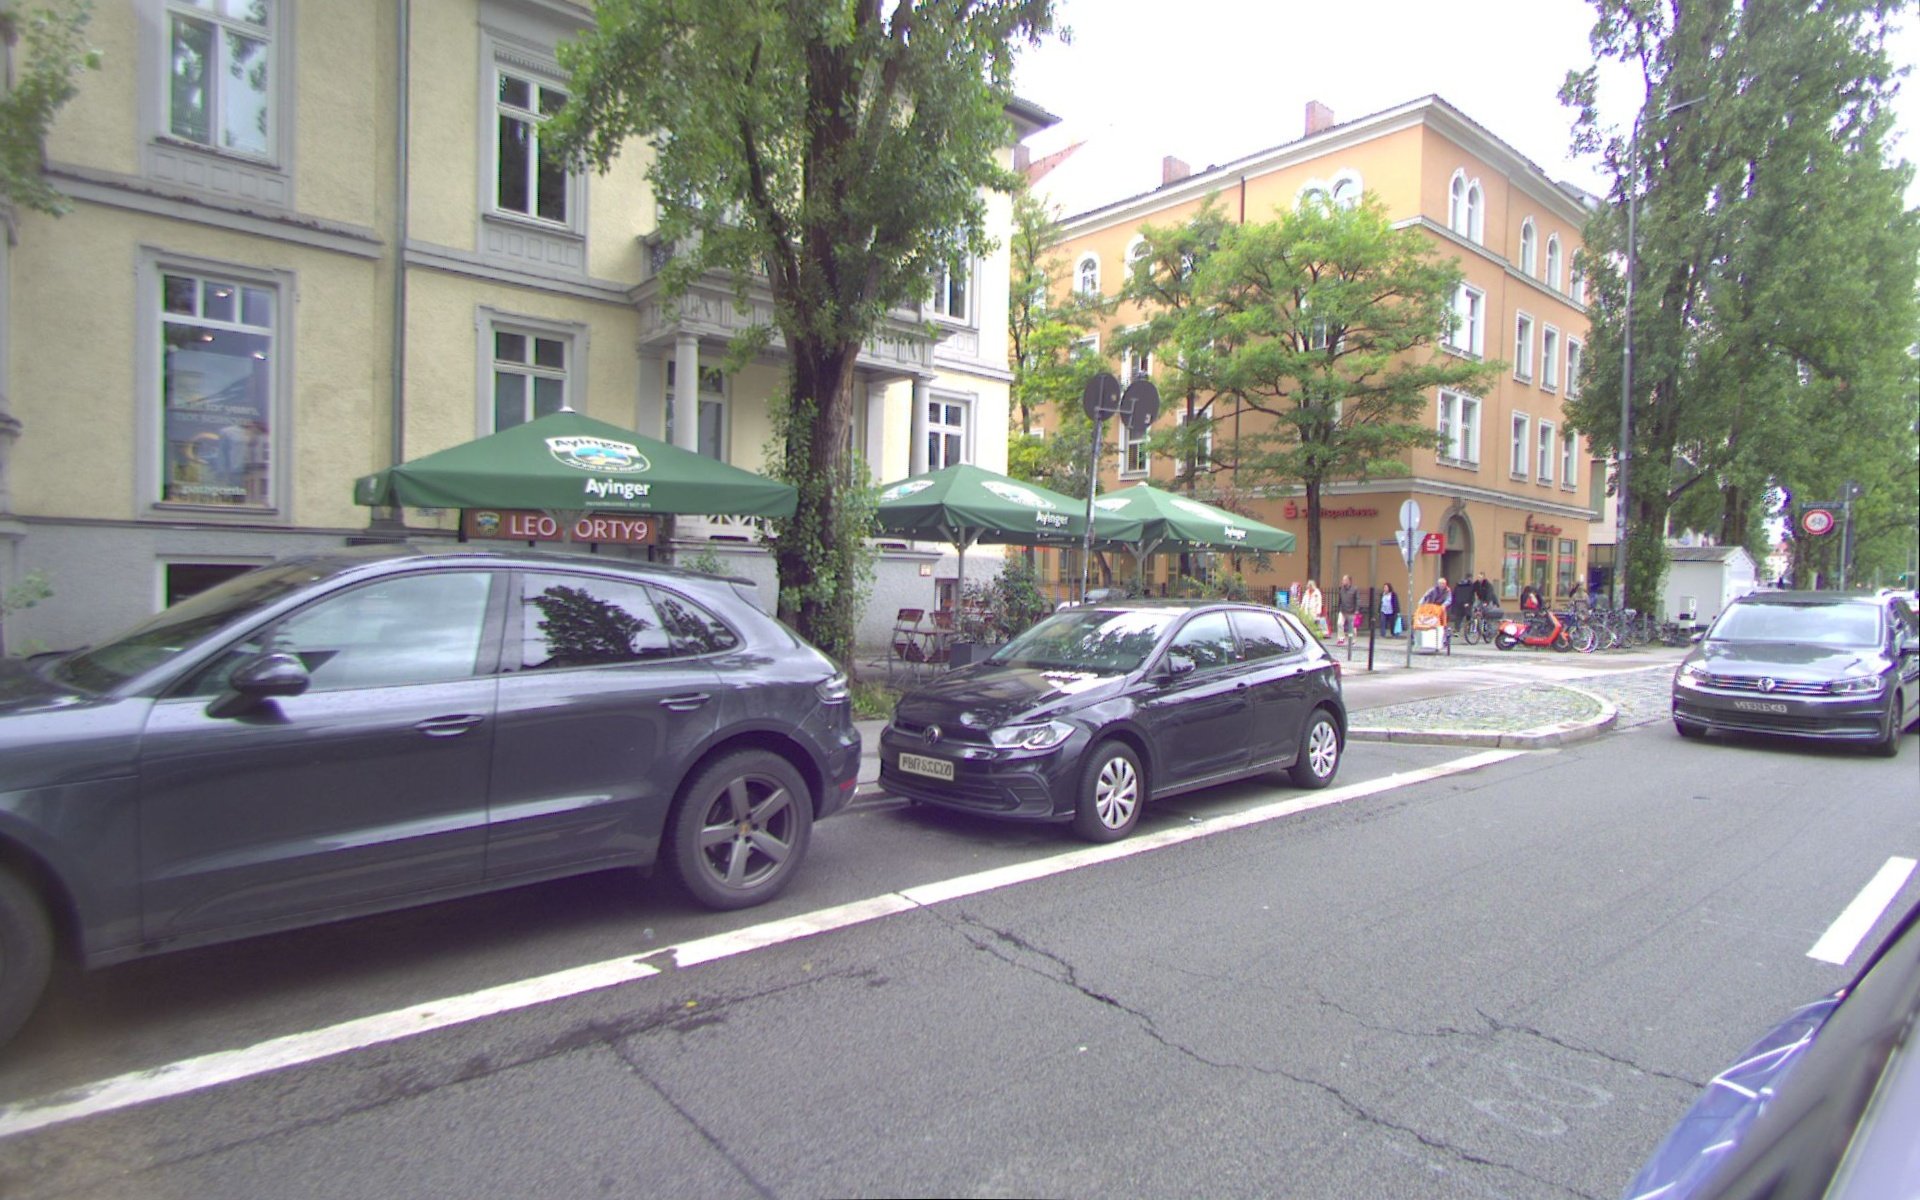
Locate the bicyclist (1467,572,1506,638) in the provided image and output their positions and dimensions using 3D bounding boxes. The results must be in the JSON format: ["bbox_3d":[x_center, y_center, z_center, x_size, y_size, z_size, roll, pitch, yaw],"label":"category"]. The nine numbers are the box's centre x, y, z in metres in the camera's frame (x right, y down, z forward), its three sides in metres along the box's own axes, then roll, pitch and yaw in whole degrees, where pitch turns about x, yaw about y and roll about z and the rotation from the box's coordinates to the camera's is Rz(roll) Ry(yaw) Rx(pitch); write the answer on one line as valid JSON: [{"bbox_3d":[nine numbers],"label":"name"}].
[{"bbox_3d":[14.128,0.127,27.140,0.739,1.708,0.737,2,1,42],"label":"bicyclist"}]

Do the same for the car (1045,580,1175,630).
[{"bbox_3d":[4.888,0.124,33.399,1.873,1.539,3.993,0,1,-41],"label":"car"}]

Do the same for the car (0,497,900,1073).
[{"bbox_3d":[-2.522,0.518,4.362,4.371,1.658,1.805,0,1,-42],"label":"car"}]

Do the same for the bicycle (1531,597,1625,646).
[{"bbox_3d":[15.657,0.522,25.689,0.551,1.151,1.945,1,1,-39],"label":"bicycle"}]

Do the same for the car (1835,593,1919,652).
[{"bbox_3d":[26.783,0.605,29.169,4.421,1.572,1.787,0,1,-42],"label":"car"}]

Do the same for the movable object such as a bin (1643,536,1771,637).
[{"bbox_3d":[25.654,-0.480,34.712,4.463,3.175,2.445,0,3,-41],"label":"movable object such as a bin"}]

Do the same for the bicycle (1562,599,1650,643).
[{"bbox_3d":[17.584,0.557,27.589,0.551,1.098,1.945,1,1,-39],"label":"bicycle"}]

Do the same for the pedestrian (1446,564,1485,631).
[{"bbox_3d":[15.152,-0.092,30.339,0.789,1.973,0.838,0,0,-45],"label":"pedestrian"}]

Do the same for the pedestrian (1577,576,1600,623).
[{"bbox_3d":[23.232,-0.010,37.408,0.632,1.715,0.566,0,0,44],"label":"pedestrian"}]

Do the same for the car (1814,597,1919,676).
[{"bbox_3d":[19.213,0.692,20.352,3.920,1.451,1.620,0,0,-25],"label":"car"}]

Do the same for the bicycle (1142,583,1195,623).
[{"bbox_3d":[7.434,0.103,36.107,0.551,1.389,1.945,1,0,-39],"label":"bicycle"}]

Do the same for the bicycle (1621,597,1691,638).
[{"bbox_3d":[20.061,0.501,29.192,1.588,1.098,0.339,2,1,28],"label":"bicycle"}]

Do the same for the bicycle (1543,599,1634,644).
[{"bbox_3d":[16.578,0.550,26.720,0.551,1.089,1.945,1,1,-39],"label":"bicycle"}]

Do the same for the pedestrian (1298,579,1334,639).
[{"bbox_3d":[9.491,0.227,26.987,0.564,1.590,0.699,0,0,-38],"label":"pedestrian"}]

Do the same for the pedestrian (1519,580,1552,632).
[{"bbox_3d":[18.133,0.184,31.891,0.603,1.590,0.746,0,0,-38],"label":"pedestrian"}]

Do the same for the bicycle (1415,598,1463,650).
[{"bbox_3d":[11.287,0.541,23.909,0.877,1.134,2.086,2,1,22],"label":"bicycle"}]

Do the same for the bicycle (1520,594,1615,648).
[{"bbox_3d":[15.161,0.501,25.298,0.551,1.255,1.945,1,1,-39],"label":"bicycle"}]

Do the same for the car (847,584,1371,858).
[{"bbox_3d":[1.260,0.638,7.355,3.884,1.434,1.696,0,1,-43],"label":"car"}]

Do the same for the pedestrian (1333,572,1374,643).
[{"bbox_3d":[10.052,0.183,25.835,0.718,1.788,0.699,0,0,-38],"label":"pedestrian"}]

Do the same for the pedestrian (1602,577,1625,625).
[{"bbox_3d":[23.953,0.031,37.092,0.565,1.715,0.618,0,0,-44],"label":"pedestrian"}]

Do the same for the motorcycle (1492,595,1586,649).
[{"bbox_3d":[14.230,0.514,24.932,1.939,1.236,0.510,2,1,25],"label":"motorcycle"}]

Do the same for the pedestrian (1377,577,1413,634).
[{"bbox_3d":[12.412,0.151,28.881,0.651,1.590,0.746,0,0,-38],"label":"pedestrian"}]

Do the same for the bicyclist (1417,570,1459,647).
[{"bbox_3d":[11.400,0.194,24.151,0.821,1.779,0.662,1,1,22],"label":"bicyclist"}]

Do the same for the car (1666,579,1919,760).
[{"bbox_3d":[9.469,0.610,11.139,4.120,1.611,1.881,0,1,-42],"label":"car"}]

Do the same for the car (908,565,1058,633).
[{"bbox_3d":[0.552,-0.042,28.205,1.934,1.723,4.429,0,0,-36],"label":"car"}]

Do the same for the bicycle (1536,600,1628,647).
[{"bbox_3d":[16.072,0.583,26.188,0.551,1.102,1.945,1,1,-39],"label":"bicycle"}]

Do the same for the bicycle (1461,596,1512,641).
[{"bbox_3d":[14.173,0.484,27.213,0.735,1.134,2.071,2,1,41],"label":"bicycle"}]

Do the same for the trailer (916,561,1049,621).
[{"bbox_3d":[0.731,-0.356,37.441,1.873,2.054,5.247,1,0,-41],"label":"trailer"}]

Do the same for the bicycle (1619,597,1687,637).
[{"bbox_3d":[20.202,0.497,29.527,1.593,1.098,0.319,2,1,28],"label":"bicycle"}]

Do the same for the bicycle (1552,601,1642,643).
[{"bbox_3d":[17.029,0.575,27.106,0.551,1.022,1.945,1,1,-39],"label":"bicycle"}]

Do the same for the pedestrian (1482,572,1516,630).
[{"bbox_3d":[15.899,0.034,29.847,0.743,1.682,0.759,0,0,43],"label":"pedestrian"}]

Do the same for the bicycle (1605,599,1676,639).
[{"bbox_3d":[18.890,0.522,28.115,1.597,1.022,0.337,2,1,43],"label":"bicycle"}]

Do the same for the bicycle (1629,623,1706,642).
[{"bbox_3d":[19.812,0.903,28.342,1.672,0.378,0.818,4,3,42],"label":"bicycle"}]
